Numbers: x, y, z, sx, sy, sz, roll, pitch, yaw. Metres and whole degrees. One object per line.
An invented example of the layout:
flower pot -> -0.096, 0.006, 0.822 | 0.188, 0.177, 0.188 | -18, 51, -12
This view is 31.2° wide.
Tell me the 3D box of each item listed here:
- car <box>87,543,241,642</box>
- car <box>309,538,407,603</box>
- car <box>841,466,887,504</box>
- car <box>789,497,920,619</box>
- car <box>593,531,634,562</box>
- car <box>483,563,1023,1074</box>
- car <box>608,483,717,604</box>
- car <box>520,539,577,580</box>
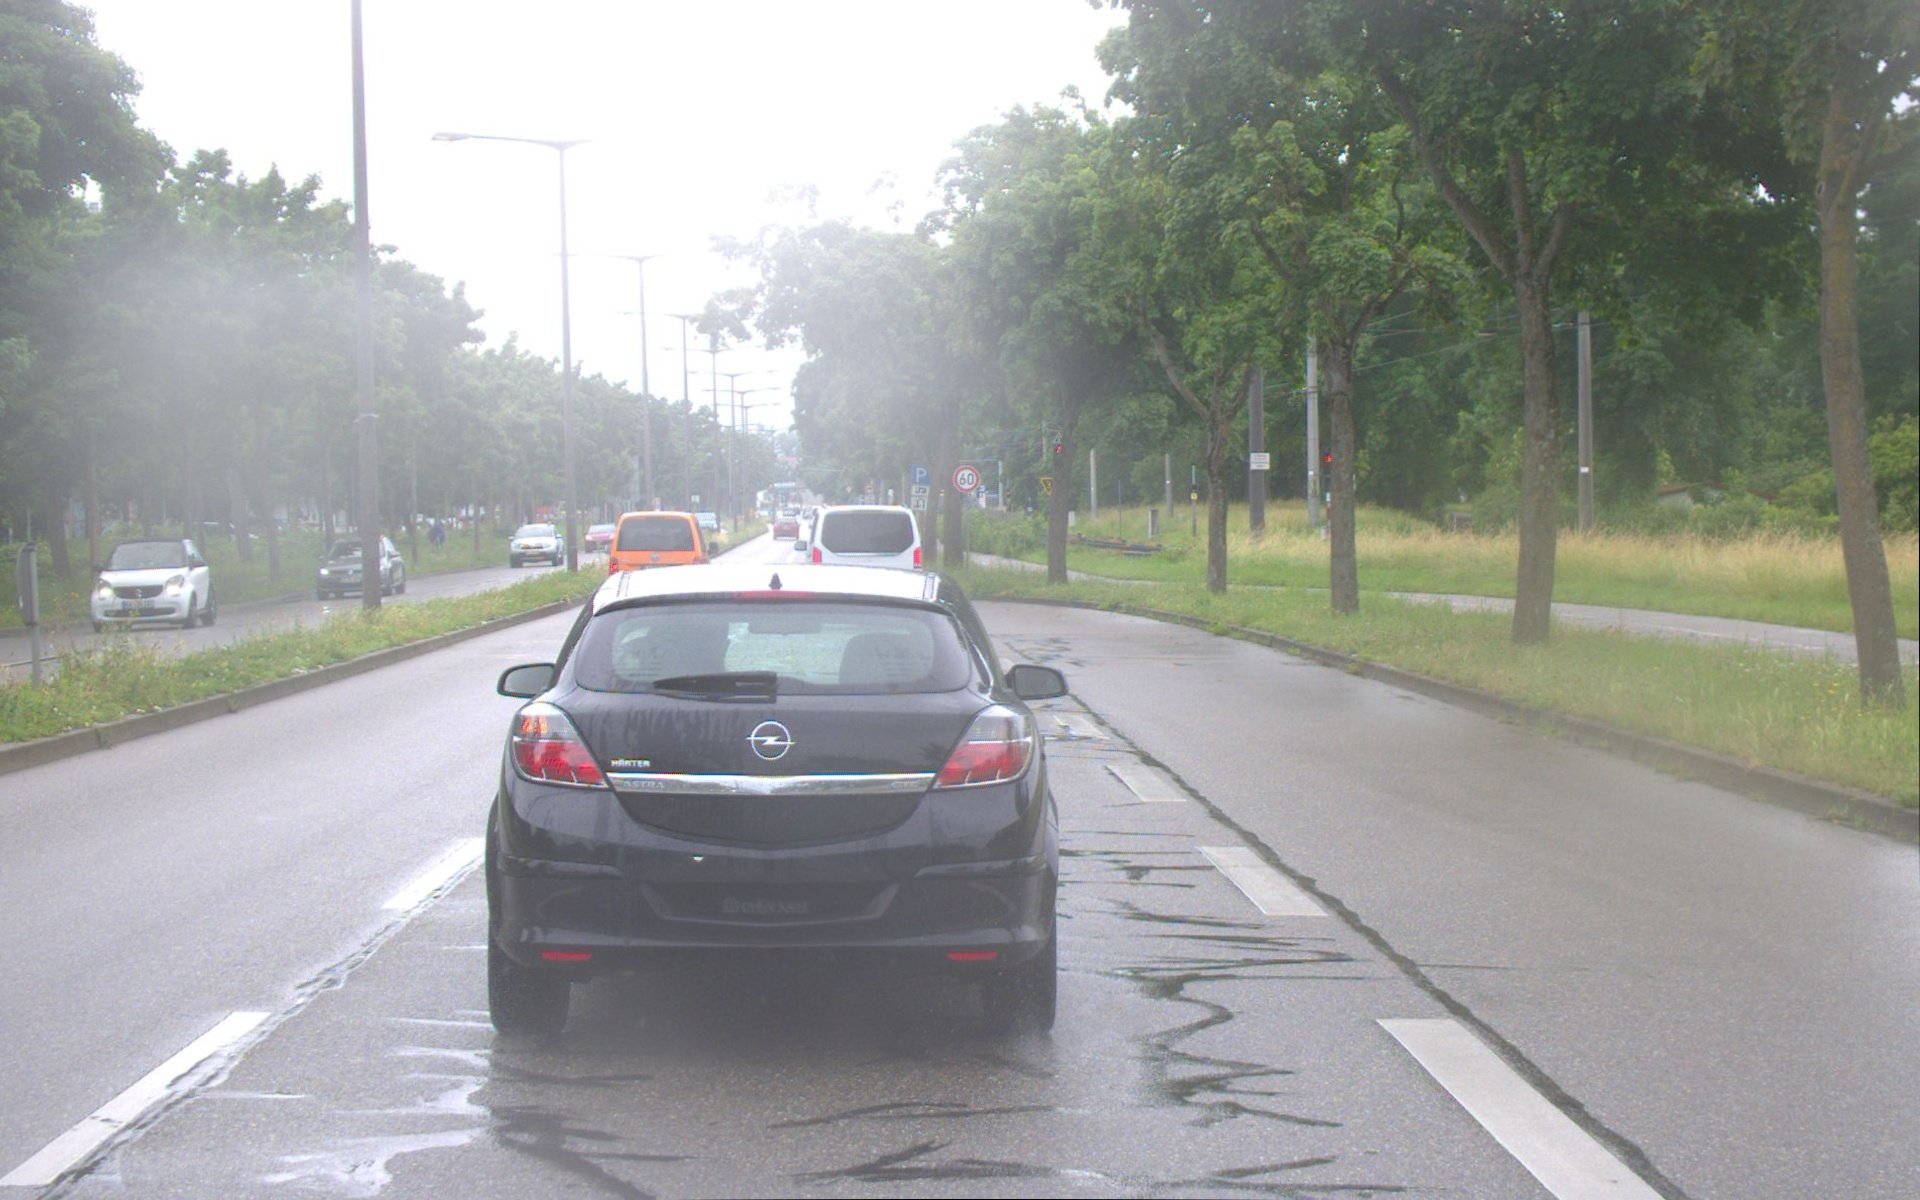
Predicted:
car -> -13.476, -0.151, 58.402 | 1.720, 1.524, 3.809 | -1, 2, 0
car -> -14.630, -0.731, 83.671 | 1.720, 1.524, 3.809 | -1, 1, 0
car -> -5.532, -6.624, 198.170 | 2.516, 2.045, 5.294 | 2, 2, -1
car -> -1.826, -0.705, 58.196 | 2.059, 1.968, 4.609 | 0, 0, -4
car -> -17.371, -2.681, 172.496 | 1.720, 1.524, 3.809 | -1, 1, 0
car -> -0.550, 0.595, 11.543 | 1.463, 1.324, 3.758 | 0, 2, 2
car -> -5.245, -0.989, 61.040 | 1.734, 2.012, 4.850 | 2, 0, -3
car -> -15.644, -1.544, 130.918 | 1.720, 1.524, 3.809 | -1, 1, 0
